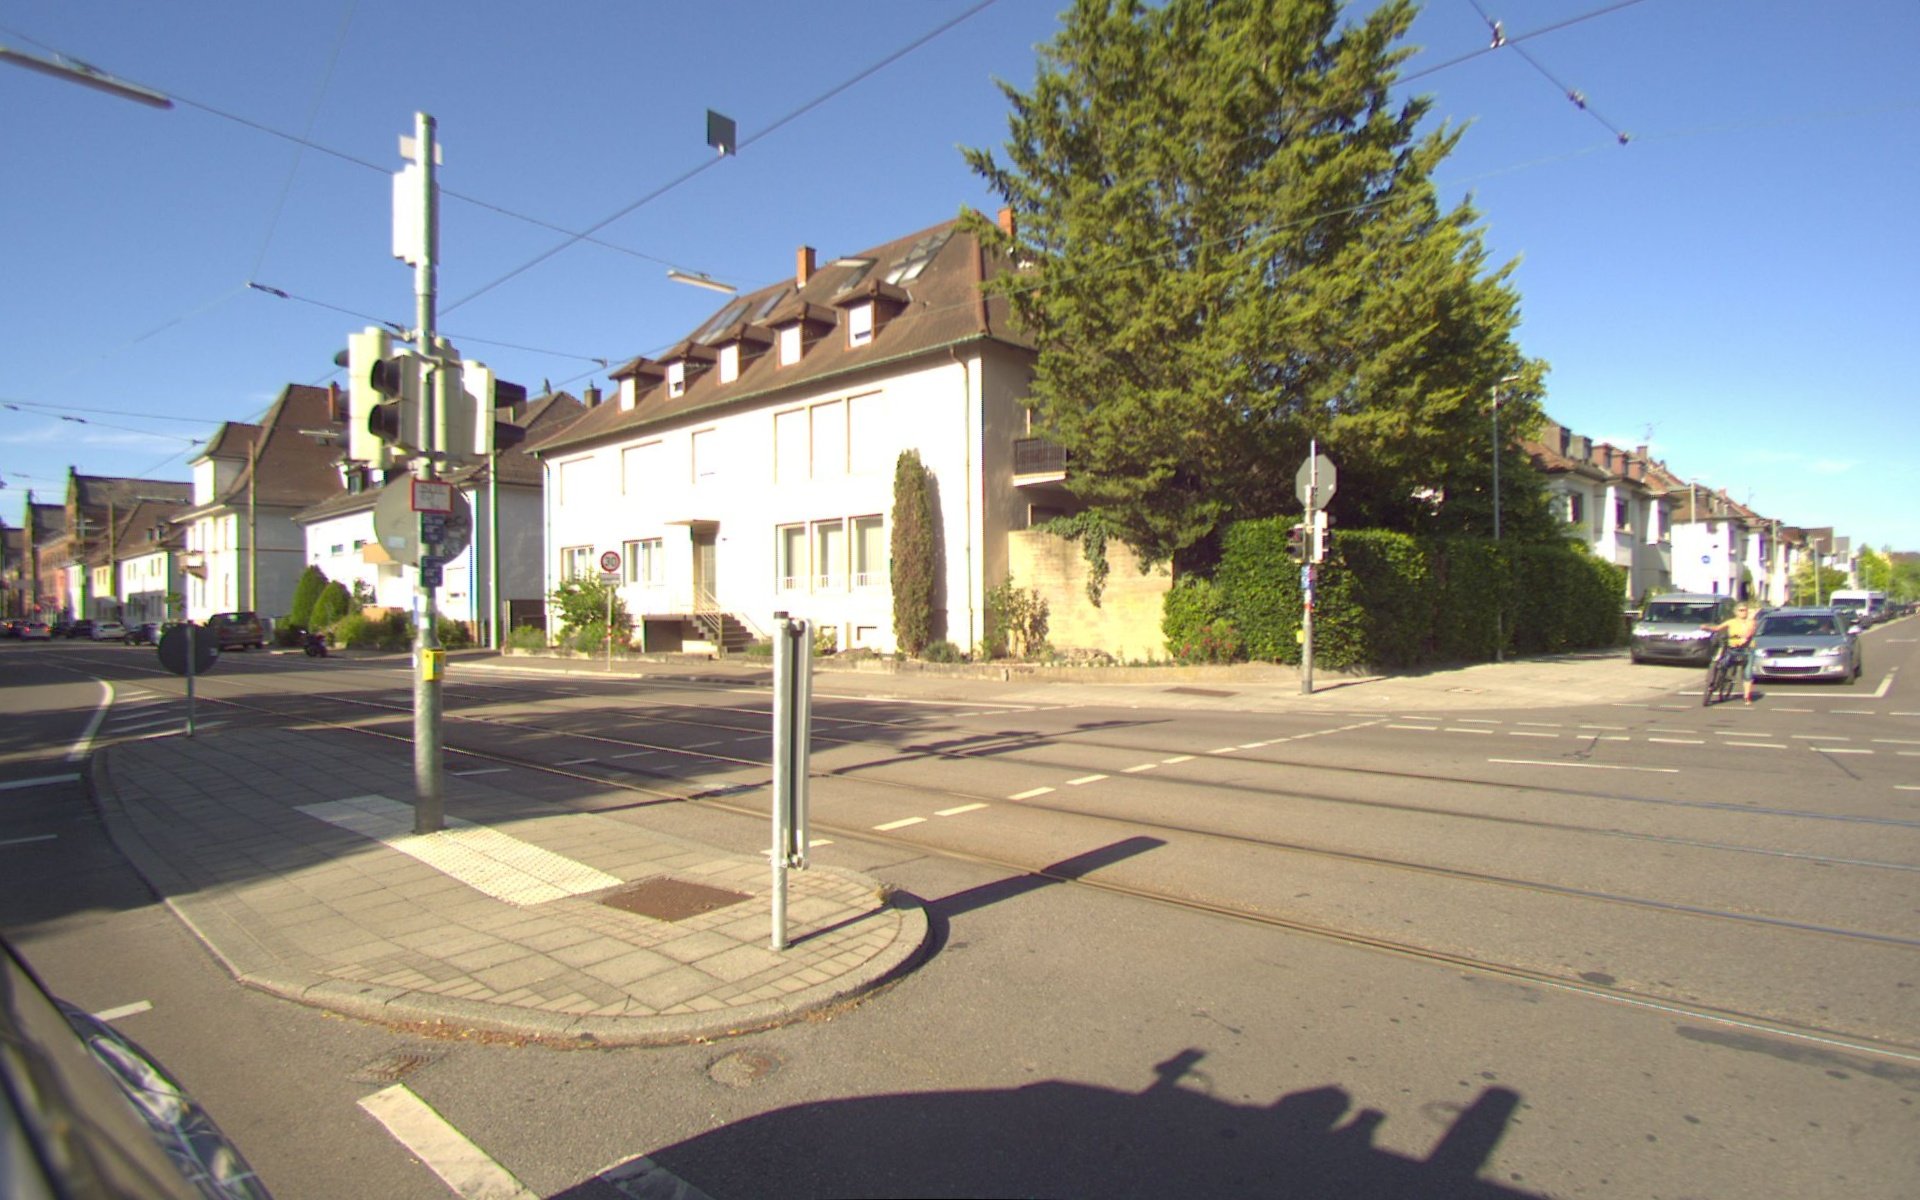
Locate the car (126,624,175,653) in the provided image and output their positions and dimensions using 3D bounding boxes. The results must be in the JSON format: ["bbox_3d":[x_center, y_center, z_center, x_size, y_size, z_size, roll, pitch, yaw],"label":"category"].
[{"bbox_3d":[-52.477,2.521,65.590,4.000,1.728,1.898,-2,0,43],"label":"car"}]

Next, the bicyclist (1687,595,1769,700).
[{"bbox_3d":[12.280,0.745,16.190,0.551,1.635,0.900,0,-2,-40],"label":"bicyclist"}]

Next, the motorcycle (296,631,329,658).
[{"bbox_3d":[-26.376,1.802,41.211,2.438,1.054,0.597,-2,0,45],"label":"motorcycle"}]

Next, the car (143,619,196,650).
[{"bbox_3d":[-48.076,2.088,61.525,4.000,1.728,1.898,-2,0,43],"label":"car"}]

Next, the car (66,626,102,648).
[{"bbox_3d":[-74.413,3.159,85.932,4.001,1.727,1.898,-2,0,44],"label":"car"}]

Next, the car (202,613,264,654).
[{"bbox_3d":[-37.225,1.718,51.788,4.002,1.915,1.897,-2,0,45],"label":"car"}]

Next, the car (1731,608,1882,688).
[{"bbox_3d":[17.313,0.922,20.644,3.939,1.444,1.819,0,-2,-42],"label":"car"}]

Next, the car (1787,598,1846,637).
[{"bbox_3d":[40.571,0.813,47.916,1.817,1.756,3.830,-2,-2,44],"label":"car"}]

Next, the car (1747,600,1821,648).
[{"bbox_3d":[31.741,0.895,38.950,1.817,1.756,4.140,-2,-2,44],"label":"car"}]

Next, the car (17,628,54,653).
[{"bbox_3d":[-68.959,3.000,75.502,1.897,1.728,4.003,-3,0,-44],"label":"car"}]

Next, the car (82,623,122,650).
[{"bbox_3d":[-59.931,2.570,70.670,1.897,1.728,4.003,-3,0,-44],"label":"car"}]

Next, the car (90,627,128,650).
[{"bbox_3d":[-63.682,2.890,75.701,1.897,1.576,4.003,-3,0,-44],"label":"car"}]

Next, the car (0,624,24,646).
[{"bbox_3d":[-80.685,2.967,85.768,1.897,1.728,4.003,-3,0,-44],"label":"car"}]

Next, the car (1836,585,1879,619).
[{"bbox_3d":[57.703,0.135,65.017,1.817,2.110,4.123,-2,-2,44],"label":"car"}]

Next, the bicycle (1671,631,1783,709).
[{"bbox_3d":[12.223,1.070,16.109,2.251,1.126,0.931,0,-2,-40],"label":"bicycle"}]

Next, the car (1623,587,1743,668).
[{"bbox_3d":[18.356,0.660,25.619,1.817,1.881,4.253,-2,-2,44],"label":"car"}]
